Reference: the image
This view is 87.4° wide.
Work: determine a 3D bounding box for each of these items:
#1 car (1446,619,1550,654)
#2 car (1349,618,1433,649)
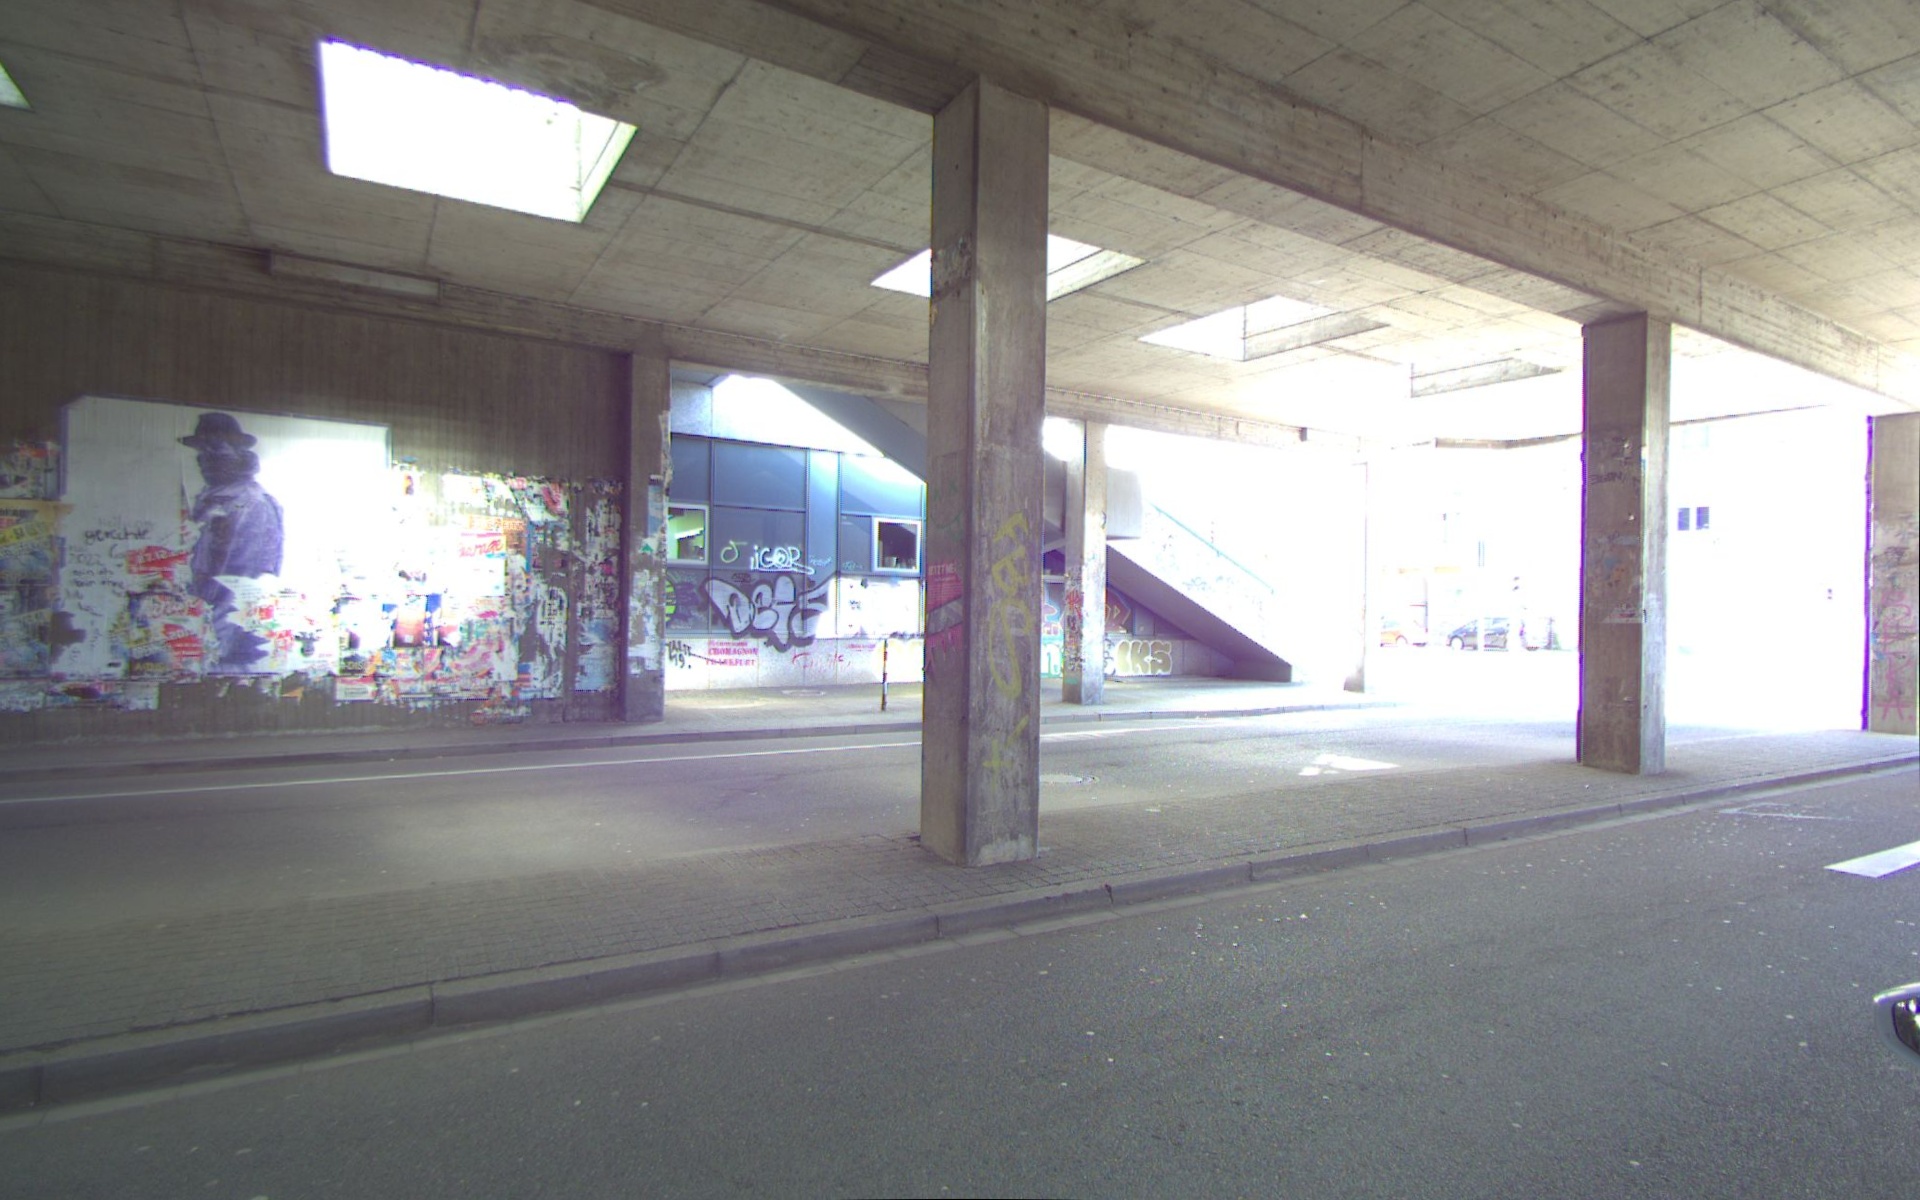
[{"bbox_3d":[25.460,1.701,47.653,1.718,1.495,4.089,2,-1,-31],"label":"car"},{"bbox_3d":[22.549,1.716,52.609,1.730,1.495,3.741,2,-1,-31],"label":"car"}]
